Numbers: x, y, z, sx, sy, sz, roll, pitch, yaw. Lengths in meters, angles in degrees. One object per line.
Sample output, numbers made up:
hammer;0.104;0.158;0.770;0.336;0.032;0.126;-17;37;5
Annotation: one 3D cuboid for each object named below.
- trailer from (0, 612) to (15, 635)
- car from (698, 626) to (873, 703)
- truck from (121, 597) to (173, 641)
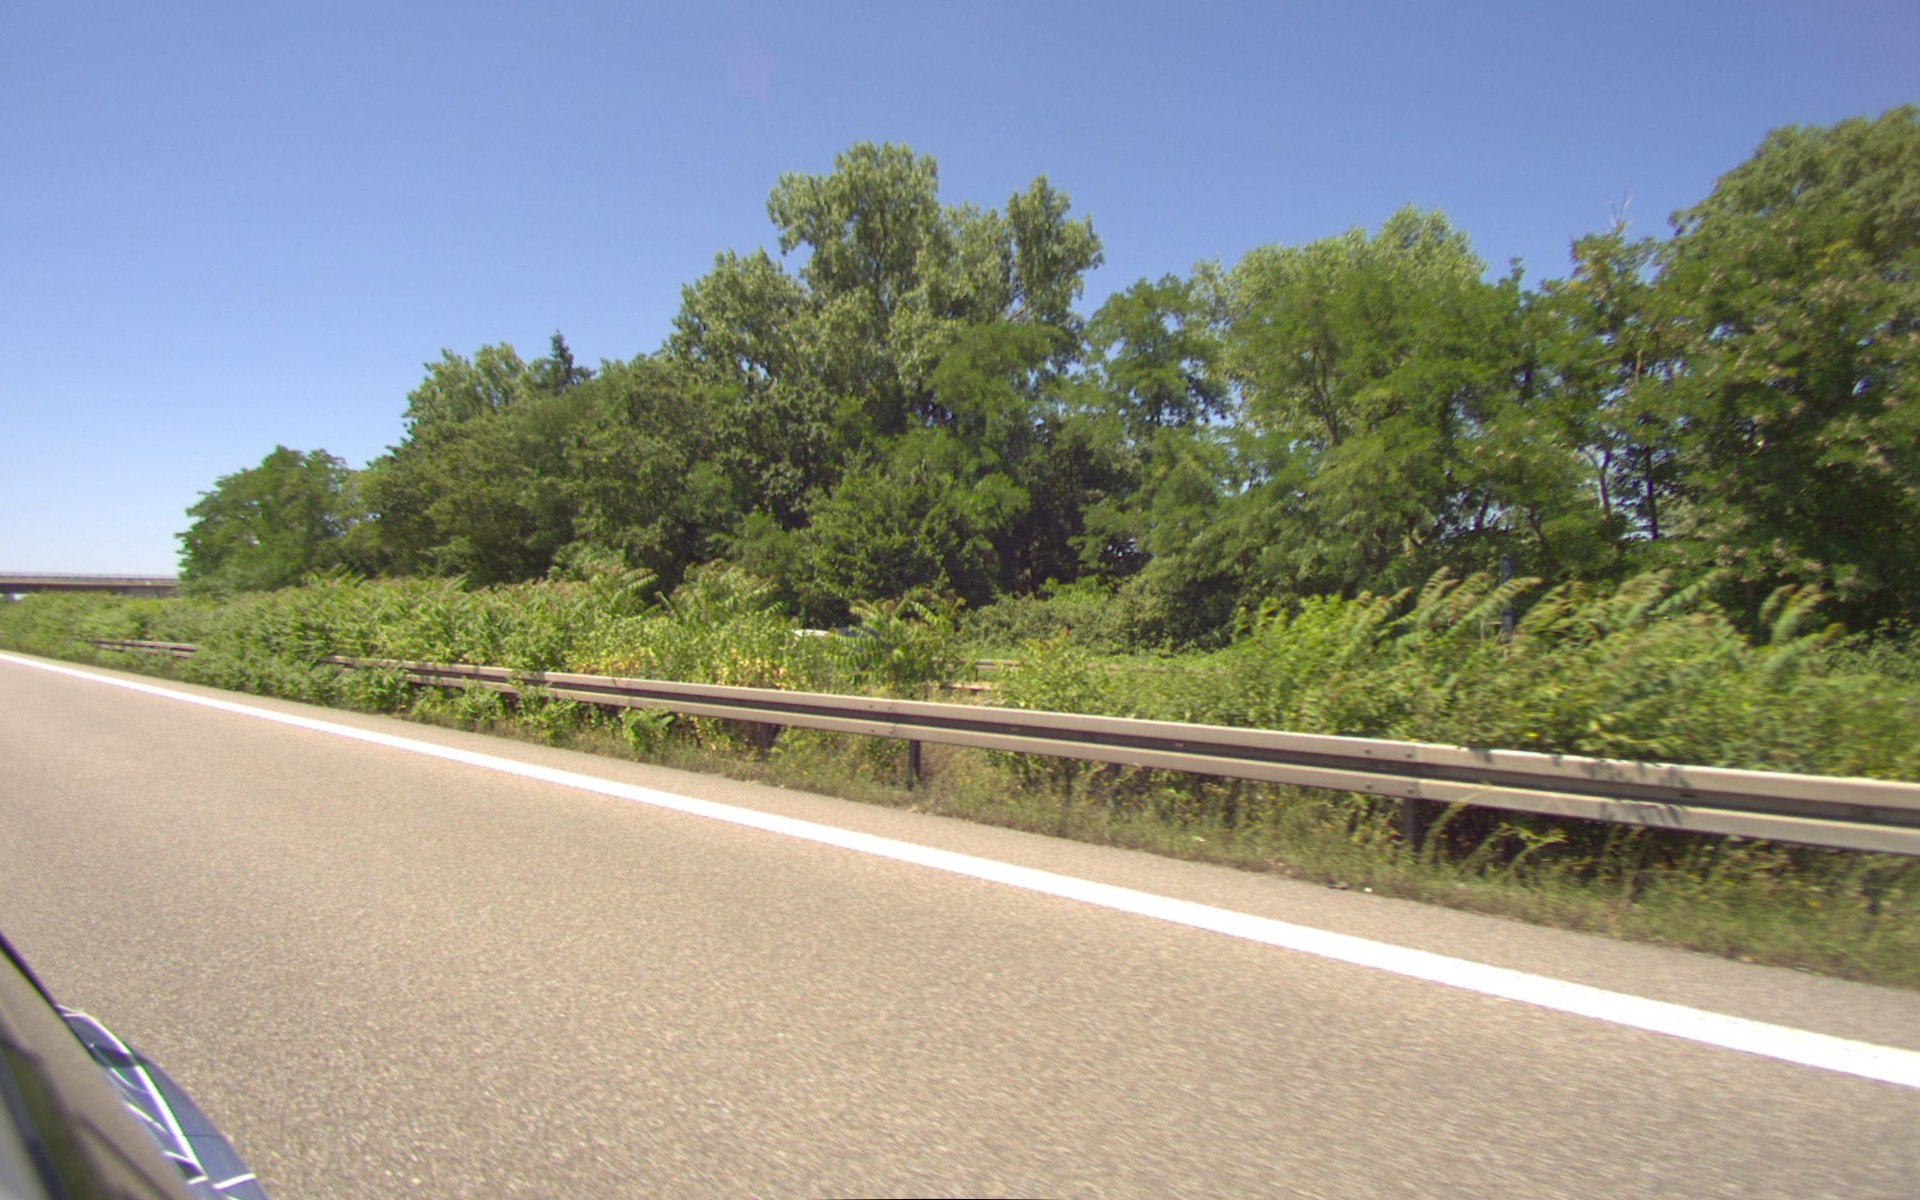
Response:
trailer;-158.576;3.911;166.679;13.921;3.738;2.796;-2;0;41
car;-3.321;1.150;18.991;3.436;1.279;1.376;-2;0;41
truck;-72.214;1.675;89.889;6.826;3.733;2.563;-2;0;43
